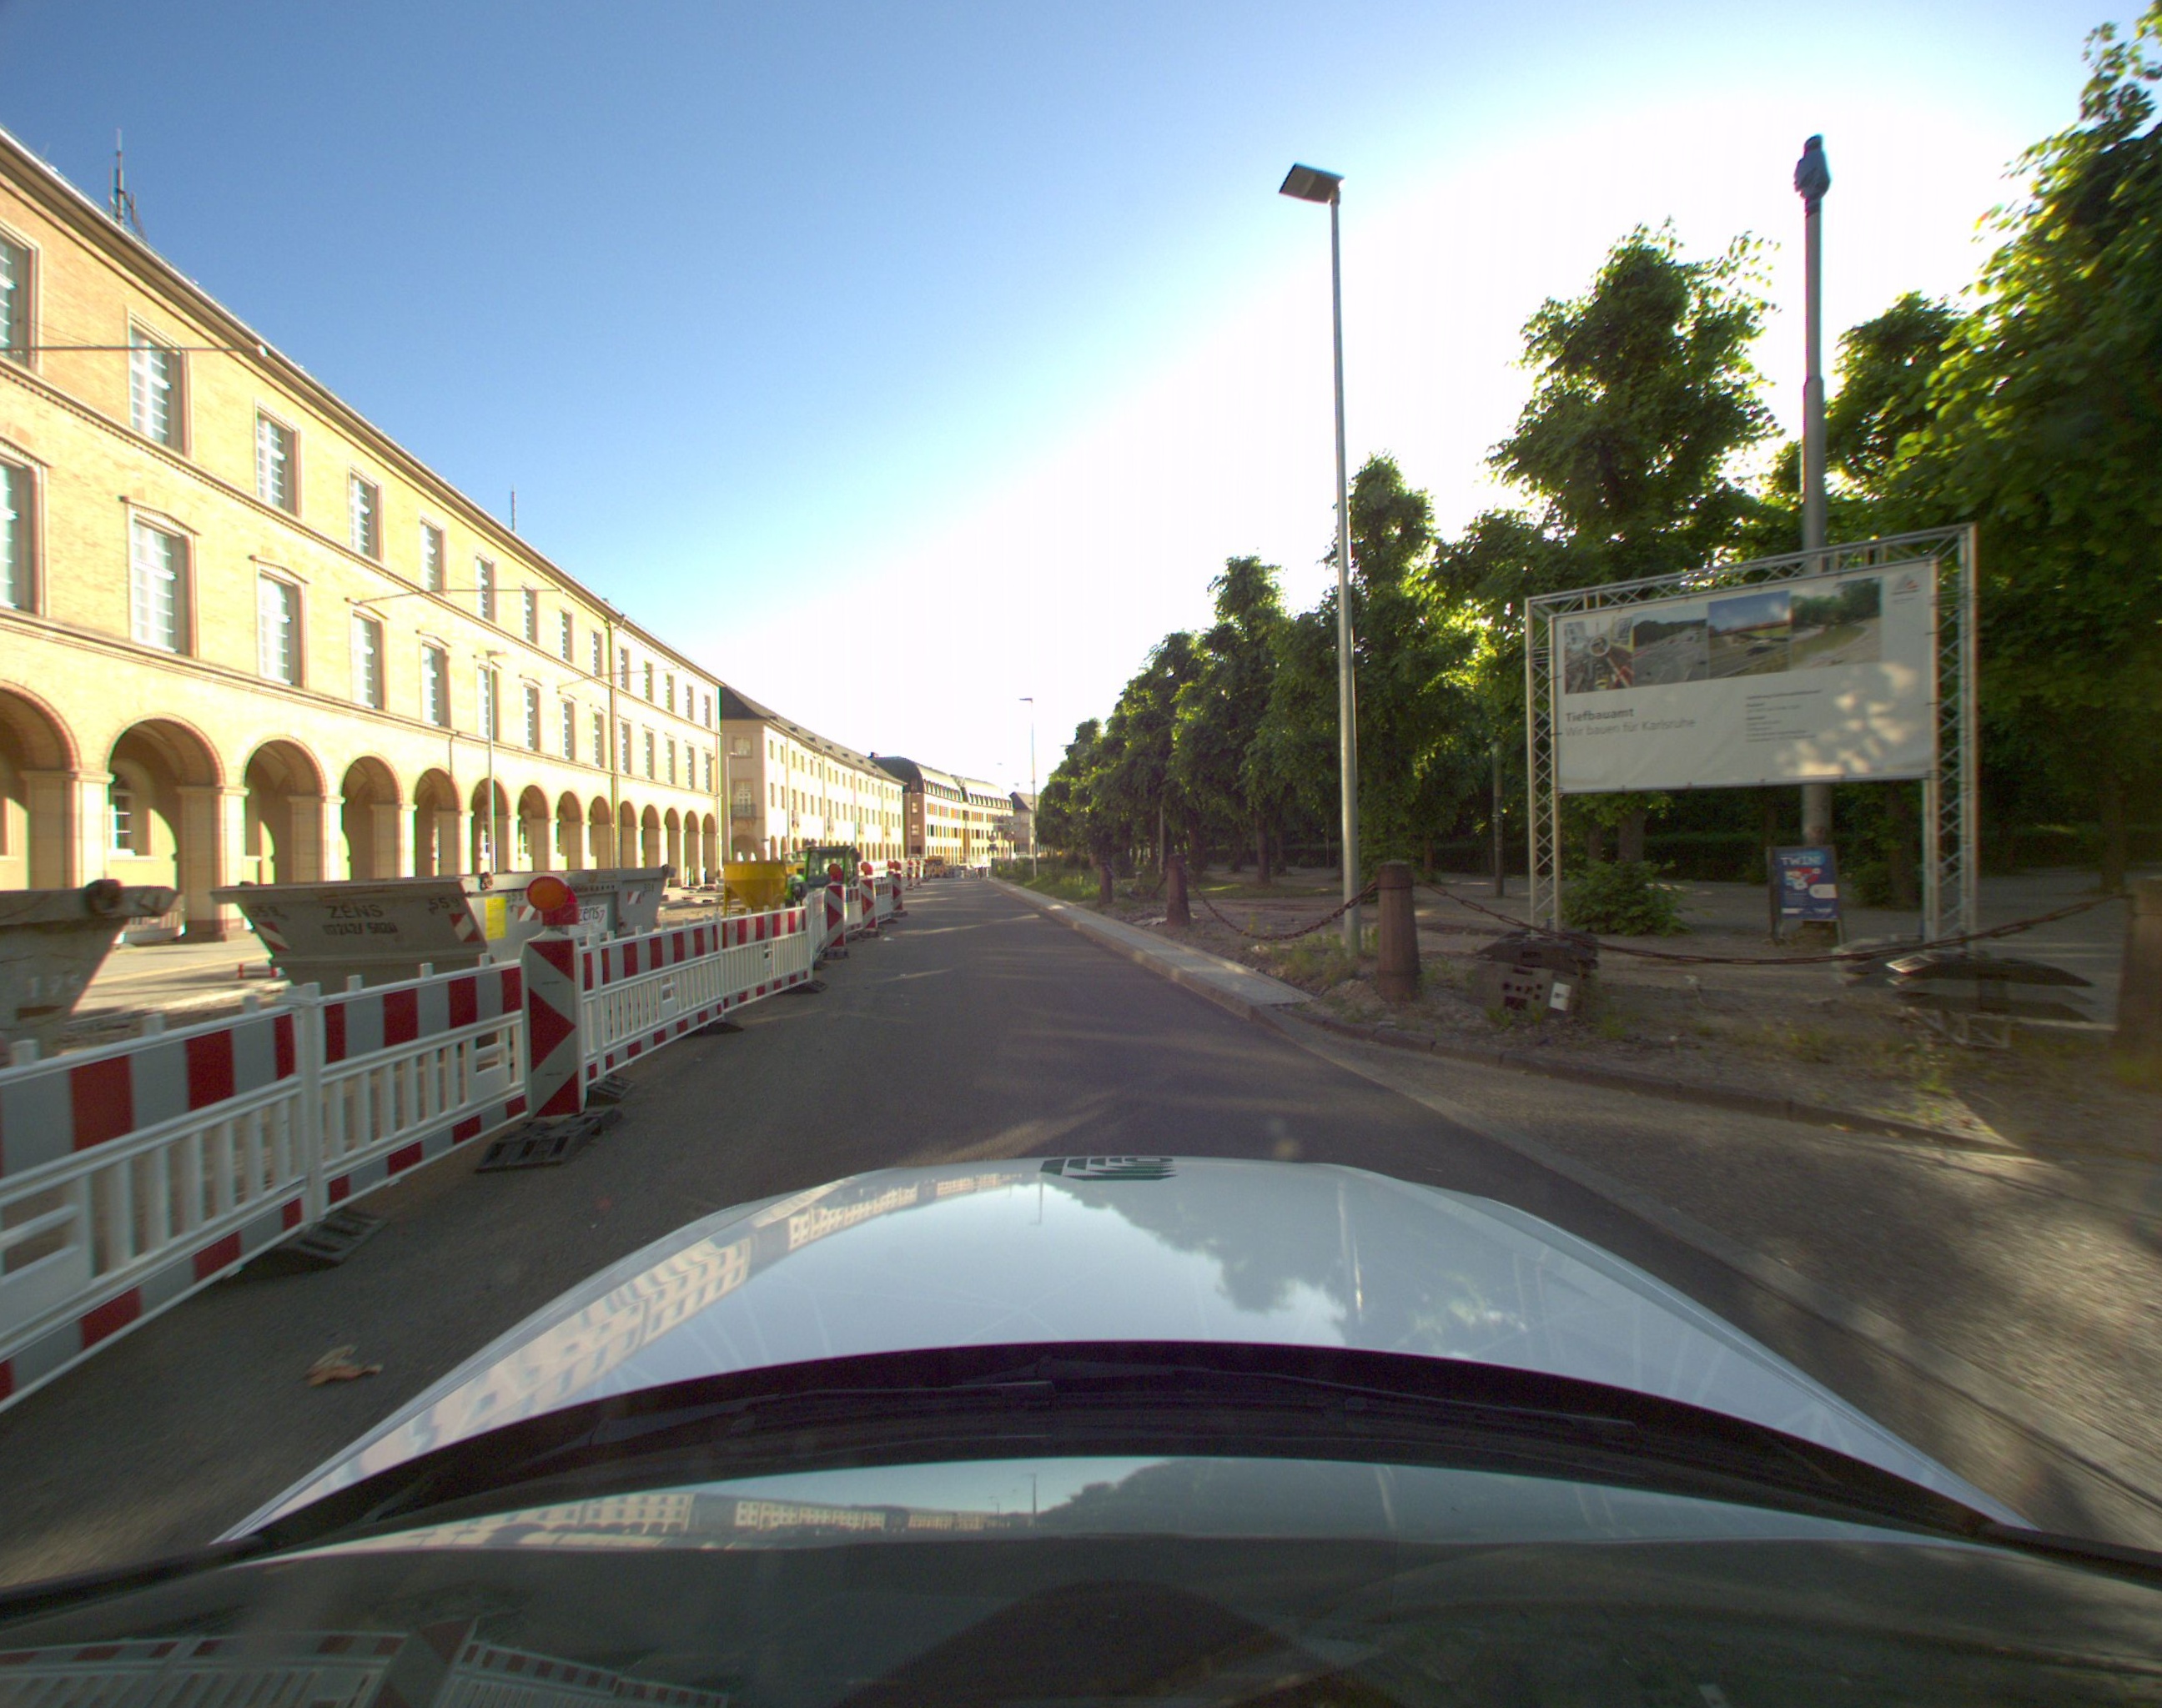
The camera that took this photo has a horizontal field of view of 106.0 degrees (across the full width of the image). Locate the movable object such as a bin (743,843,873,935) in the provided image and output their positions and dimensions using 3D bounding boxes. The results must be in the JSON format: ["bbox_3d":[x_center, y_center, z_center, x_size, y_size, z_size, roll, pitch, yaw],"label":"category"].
[{"bbox_3d":[-6.581,0.736,20.146,2.047,1.949,4.327,-1,1,-5],"label":"movable object such as a bin"}]

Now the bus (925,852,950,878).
[{"bbox_3d":[-15.749,1.260,89.808,2.068,2.687,4.678,-1,-2,-3],"label":"bus"}]

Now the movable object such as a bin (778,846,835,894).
[{"bbox_3d":[-15.581,0.836,46.427,2.072,2.475,4.606,-2,1,-7],"label":"movable object such as a bin"}]
